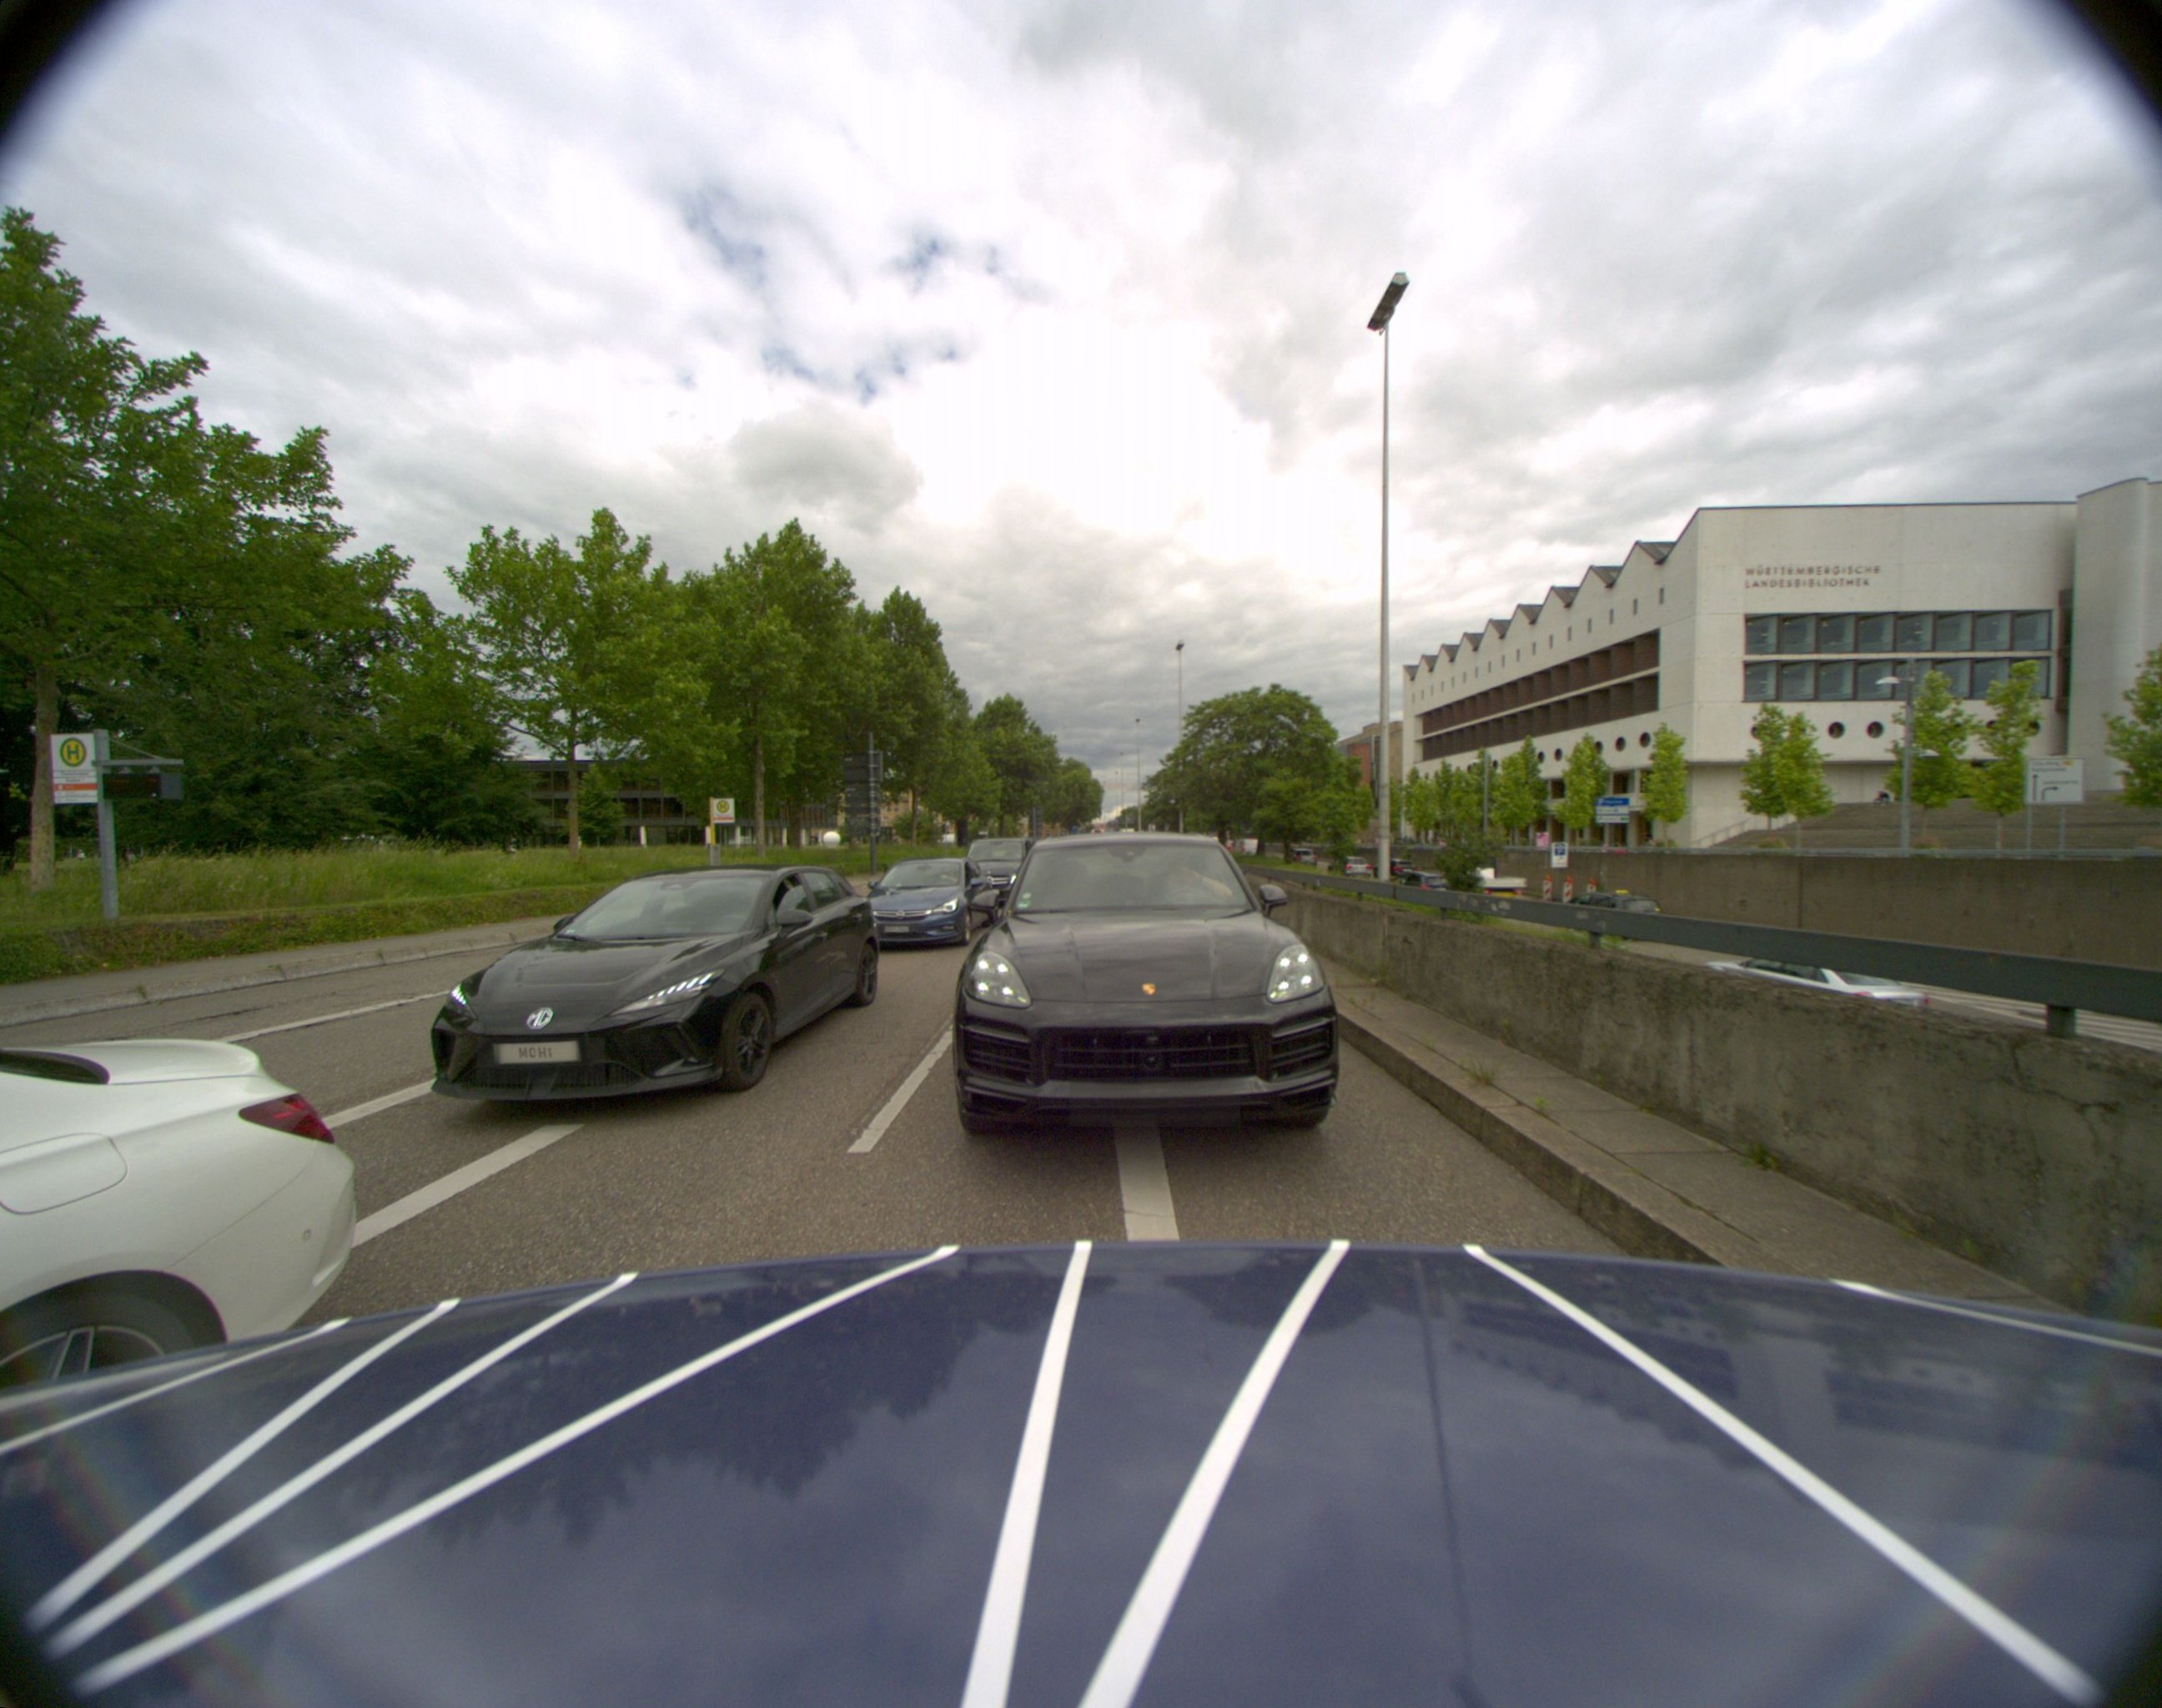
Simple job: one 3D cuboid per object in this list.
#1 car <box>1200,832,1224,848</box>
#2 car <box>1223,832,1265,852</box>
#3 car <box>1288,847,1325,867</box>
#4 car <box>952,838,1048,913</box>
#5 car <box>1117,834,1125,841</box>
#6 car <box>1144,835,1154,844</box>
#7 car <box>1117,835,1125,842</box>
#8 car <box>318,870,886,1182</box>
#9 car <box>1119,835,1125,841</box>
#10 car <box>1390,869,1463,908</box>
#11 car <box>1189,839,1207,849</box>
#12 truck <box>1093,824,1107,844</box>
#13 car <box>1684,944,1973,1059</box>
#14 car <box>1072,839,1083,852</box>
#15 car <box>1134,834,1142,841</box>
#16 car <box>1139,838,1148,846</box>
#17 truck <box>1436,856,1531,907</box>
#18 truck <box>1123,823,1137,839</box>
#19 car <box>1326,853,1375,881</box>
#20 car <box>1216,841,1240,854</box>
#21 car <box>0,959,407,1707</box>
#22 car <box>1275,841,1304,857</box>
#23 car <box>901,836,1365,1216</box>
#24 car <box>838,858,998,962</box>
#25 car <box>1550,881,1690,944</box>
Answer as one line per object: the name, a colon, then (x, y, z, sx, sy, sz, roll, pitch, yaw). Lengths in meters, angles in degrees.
car: (16.537, -1.782, 95.998, 1.998, 1.630, 5.247, 5, 3, 0)
car: (16.729, -1.213, 78.318, 2.226, 2.002, 5.109, -1, 1, -14)
car: (18.277, 0.227, 61.702, 1.880, 1.539, 3.999, -1, 1, 1)
car: (-2.133, 0.486, 21.428, 2.021, 1.823, 4.804, -1, 1, 2)
car: (11.347, -4.630, 213.345, 1.998, 1.753, 3.999, 2, 2, 0)
car: (12.013, -2.558, 134.262, 1.372, 1.390, 3.721, 2, 1, 0)
car: (10.531, -4.213, 200.162, 1.998, 1.753, 3.998, -1, 2, 0)
car: (-3.109, 0.982, 6.141, 1.852, 1.481, 4.092, -1, 1, 2)
car: (10.288, -3.950, 189.531, 1.525, 1.389, 3.479, -1, -1, 3)
car: (17.368, 1.682, 38.414, 1.816, 1.562, 4.168, -3, 2, 1)
car: (16.895, -1.496, 110.091, 1.998, 1.390, 3.999, 2, 1, 0)
truck: (3.587, -3.793, 143.329, 2.357, 3.518, 9.423, -3, 2, 2)
car: (17.381, 3.348, 18.129, 2.185, 1.562, 4.837, -3, 2, 1)
car: (-0.549, -1.516, 132.956, 1.693, 2.002, 3.999, -3, 2, 2)
car: (11.579, -3.346, 153.965, 1.442, 1.390, 3.721, 2, 1, 0)
car: (11.682, -2.287, 141.769, 1.372, 1.390, 3.721, 2, 1, 0)
truck: (20.910, 1.340, 39.768, 2.188, 2.387, 5.379, -2, 0, 2)
truck: (10.804, -5.055, 167.283, 2.576, 3.289, 8.078, -3, 2, 2)
car: (17.736, 0.823, 50.131, 1.717, 1.533, 3.906, -3, 2, -2)
car: (16.867, -0.752, 87.358, 1.998, 1.477, 4.000, -1, 1, 2)
car: (-3.187, 1.109, 0.207, 1.799, 1.412, 4.526, -1, 1, 2)
car: (25.398, -0.642, 92.837, 2.180, 1.844, 4.735, -1, 1, -1)
car: (0.341, 0.682, 5.543, 1.904, 1.581, 4.732, -1, 1, 3)
car: (-2.670, 0.859, 13.447, 1.805, 1.426, 4.015, -1, 1, 2)
car: (20.550, 2.158, 29.266, 2.168, 1.757, 4.391, 1, 4, 0)
